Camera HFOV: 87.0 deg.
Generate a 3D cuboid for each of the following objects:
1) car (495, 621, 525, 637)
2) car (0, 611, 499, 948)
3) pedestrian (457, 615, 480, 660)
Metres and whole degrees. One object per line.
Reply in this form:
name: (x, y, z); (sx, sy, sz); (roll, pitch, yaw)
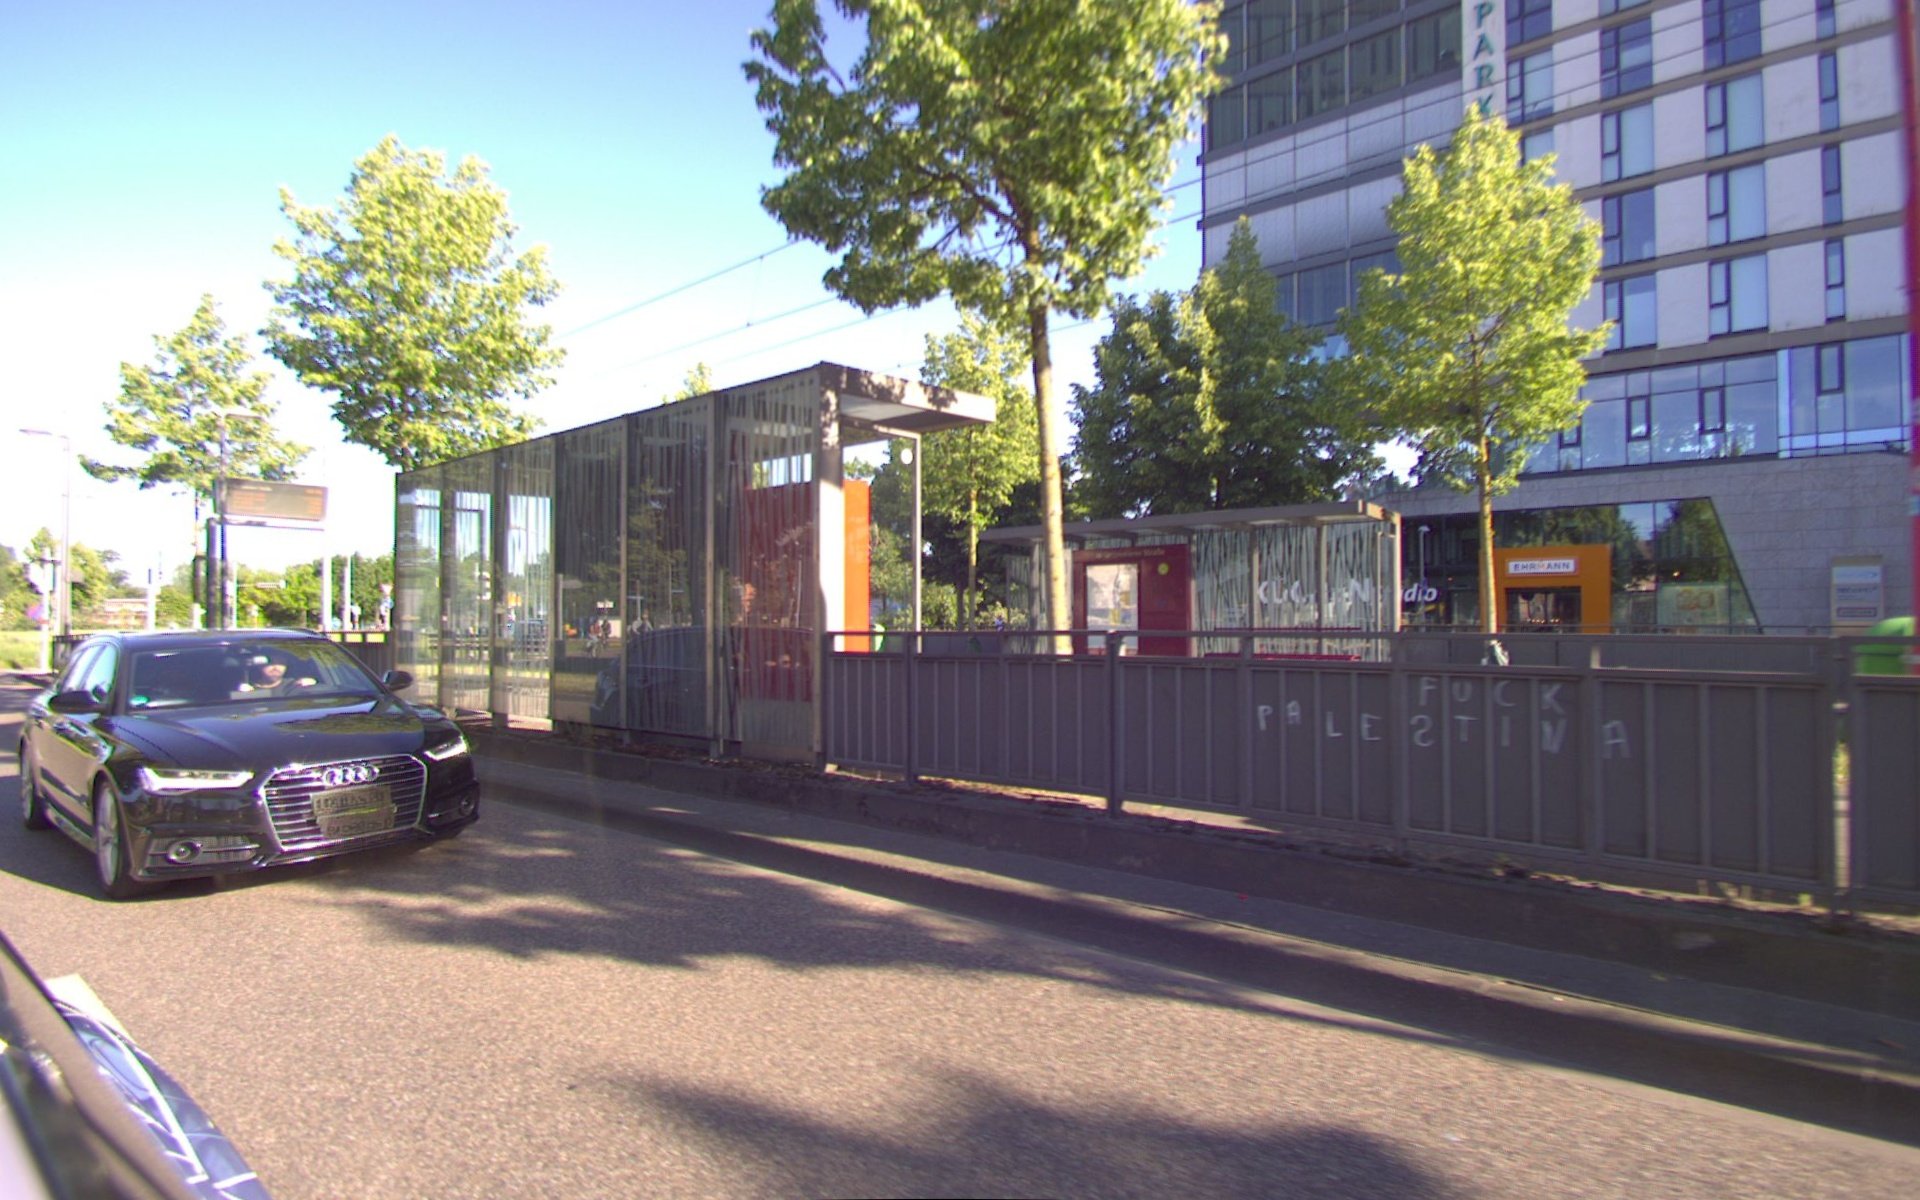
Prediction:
car: (-37.372, 2.405, 84.049); (1.637, 1.274, 3.631); (1, 0, -14)
car: (-5.054, 0.882, 6.887); (4.599, 1.538, 1.765); (-1, -1, 41)
pedestrian: (-17.717, 1.342, 36.456); (0.810, 1.590, 0.413); (0, 0, 38)
